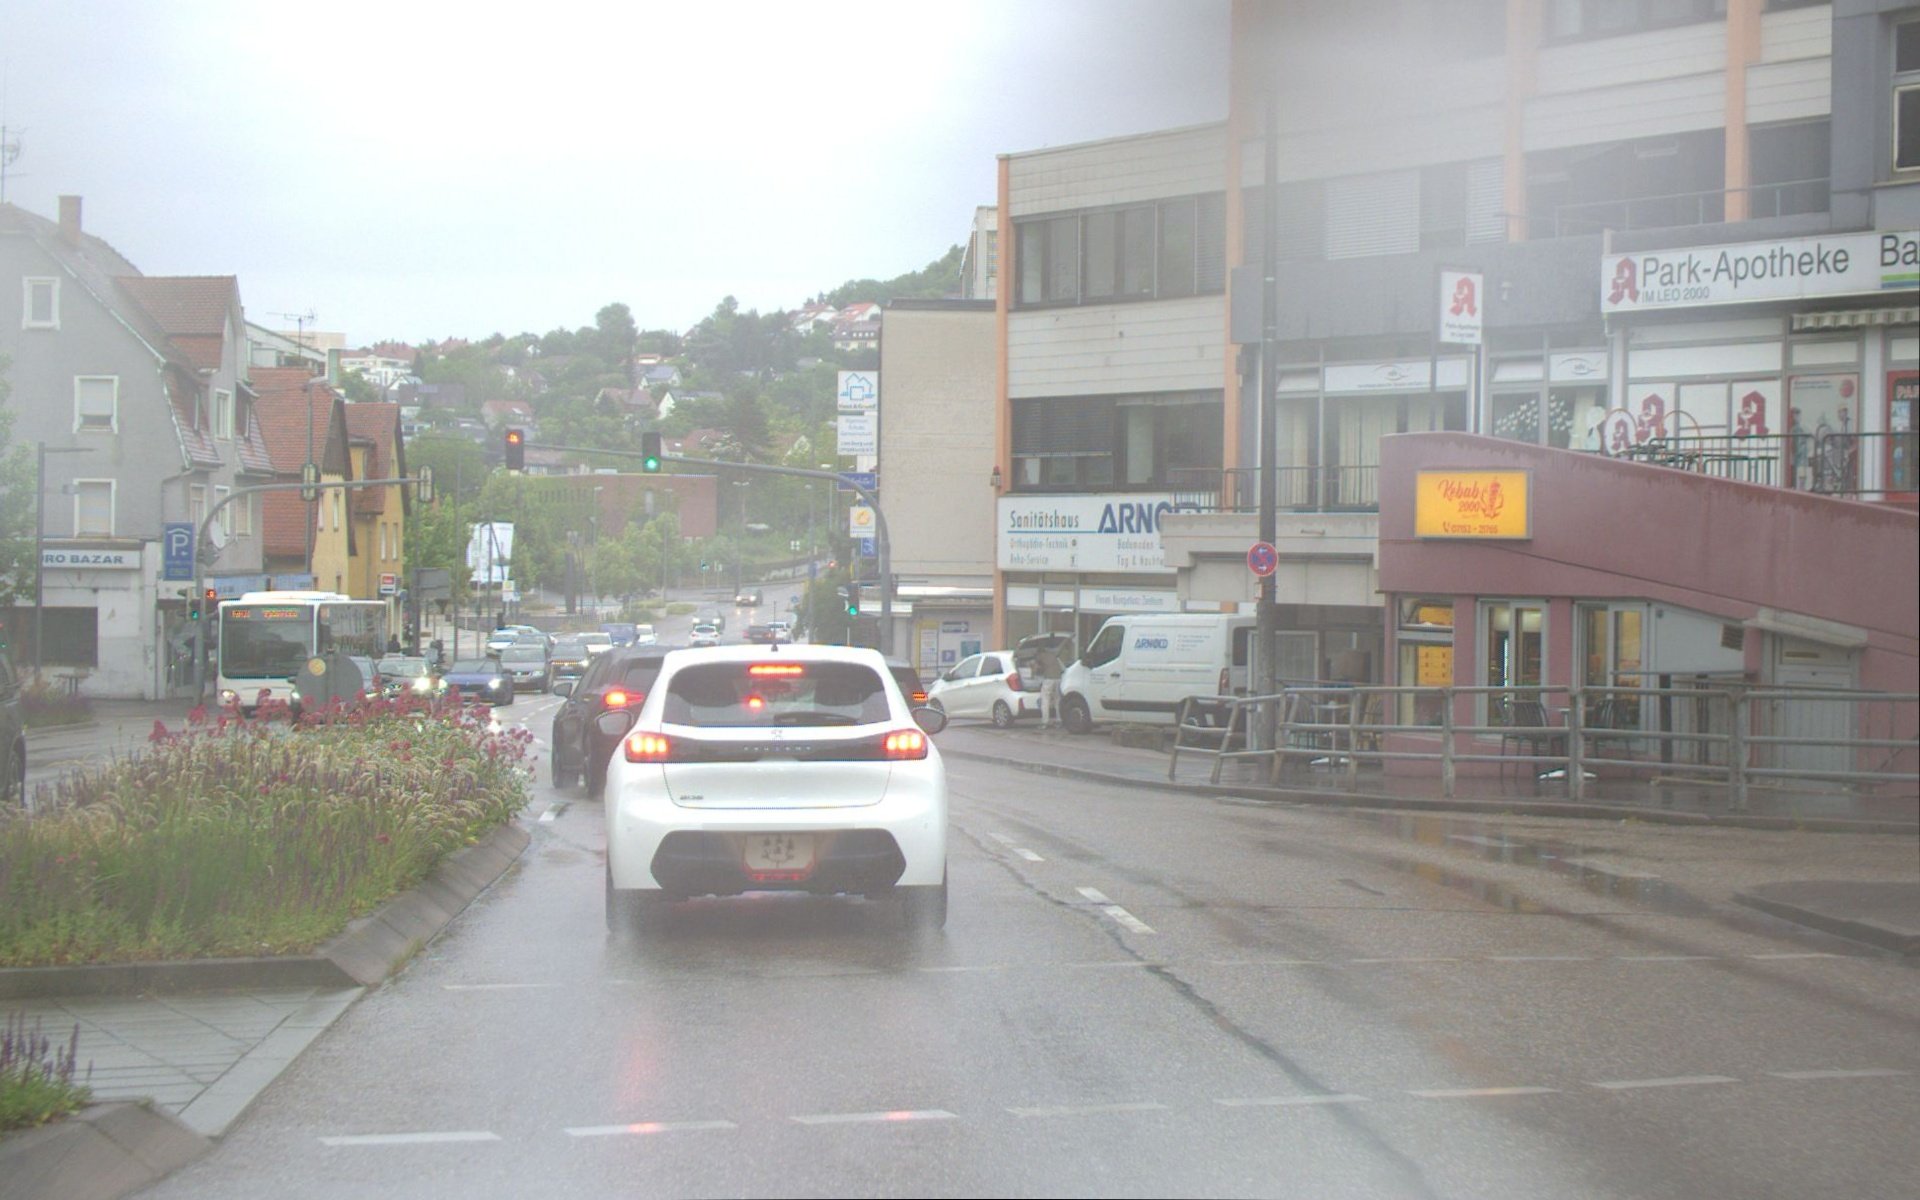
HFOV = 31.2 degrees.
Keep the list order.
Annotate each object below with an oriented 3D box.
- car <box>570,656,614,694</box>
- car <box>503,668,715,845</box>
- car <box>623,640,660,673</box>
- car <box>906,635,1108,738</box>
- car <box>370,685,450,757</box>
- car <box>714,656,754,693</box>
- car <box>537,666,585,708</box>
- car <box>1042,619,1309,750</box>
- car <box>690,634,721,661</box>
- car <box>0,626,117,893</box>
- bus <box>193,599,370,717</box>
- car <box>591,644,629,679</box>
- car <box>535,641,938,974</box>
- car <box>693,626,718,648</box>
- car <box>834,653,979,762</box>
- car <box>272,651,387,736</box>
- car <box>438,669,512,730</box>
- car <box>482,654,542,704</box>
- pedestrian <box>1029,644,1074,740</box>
[{"bbox_3d":[-16.270,3.308,152.159,1.746,1.550,4.000,-1,0,-3],"label":"car"},{"bbox_3d":[-3.491,1.493,33.646,1.815,1.524,3.813,-3,-1,-8],"label":"car"},{"bbox_3d":[-17.590,3.090,189.956,1.786,1.678,4.000,1,1,-2],"label":"car"},{"bbox_3d":[0.888,1.663,67.323,1.885,1.872,4.135,0,0,-35],"label":"car"},{"bbox_3d":[-13.152,2.872,82.348,1.814,1.550,4.001,-1,0,-8],"label":"car"},{"bbox_3d":[-10.239,3.358,155.878,1.746,1.550,4.001,-1,0,-4],"label":"car"},{"bbox_3d":[-16.021,3.469,138.226,1.746,1.550,4.001,-1,0,-4],"label":"car"},{"bbox_3d":[3.848,1.478,62.274,1.994,2.219,4.974,0,0,-39],"label":"car"},{"bbox_3d":[-15.011,2.798,202.757,1.746,1.550,4.001,-1,0,-4],"label":"car"},{"bbox_3d":[-7.585,1.168,25.506,1.993,1.817,4.299,-1,-2,-6],"label":"car"},{"bbox_3d":[-17.104,1.395,87.284,2.938,2.774,9.505,-1,0,-2],"label":"bus"},{"bbox_3d":[-16.955,2.969,166.724,1.746,1.550,4.001,-1,0,-4],"label":"car"},{"bbox_3d":[-1.142,1.012,18.286,1.871,1.457,3.873,2,0,-2],"label":"car"},{"bbox_3d":[-18.399,2.672,248.723,1.746,1.550,4.001,-1,0,-4],"label":"car"},{"bbox_3d":[-0.792,1.489,48.598,1.911,1.395,3.458,1,0,-3],"label":"car"},{"bbox_3d":[-12.470,1.825,68.207,1.892,1.550,4.001,-1,0,-5],"label":"car"},{"bbox_3d":[-13.376,2.730,94.907,1.815,1.550,4.001,-1,0,-5],"label":"car"},{"bbox_3d":[-14.825,2.606,113.998,1.746,1.550,4.001,-1,0,-4],"label":"car"},{"bbox_3d":[1.752,1.753,65.795,0.640,1.816,0.582,0,0,-35],"label":"pedestrian"}]
